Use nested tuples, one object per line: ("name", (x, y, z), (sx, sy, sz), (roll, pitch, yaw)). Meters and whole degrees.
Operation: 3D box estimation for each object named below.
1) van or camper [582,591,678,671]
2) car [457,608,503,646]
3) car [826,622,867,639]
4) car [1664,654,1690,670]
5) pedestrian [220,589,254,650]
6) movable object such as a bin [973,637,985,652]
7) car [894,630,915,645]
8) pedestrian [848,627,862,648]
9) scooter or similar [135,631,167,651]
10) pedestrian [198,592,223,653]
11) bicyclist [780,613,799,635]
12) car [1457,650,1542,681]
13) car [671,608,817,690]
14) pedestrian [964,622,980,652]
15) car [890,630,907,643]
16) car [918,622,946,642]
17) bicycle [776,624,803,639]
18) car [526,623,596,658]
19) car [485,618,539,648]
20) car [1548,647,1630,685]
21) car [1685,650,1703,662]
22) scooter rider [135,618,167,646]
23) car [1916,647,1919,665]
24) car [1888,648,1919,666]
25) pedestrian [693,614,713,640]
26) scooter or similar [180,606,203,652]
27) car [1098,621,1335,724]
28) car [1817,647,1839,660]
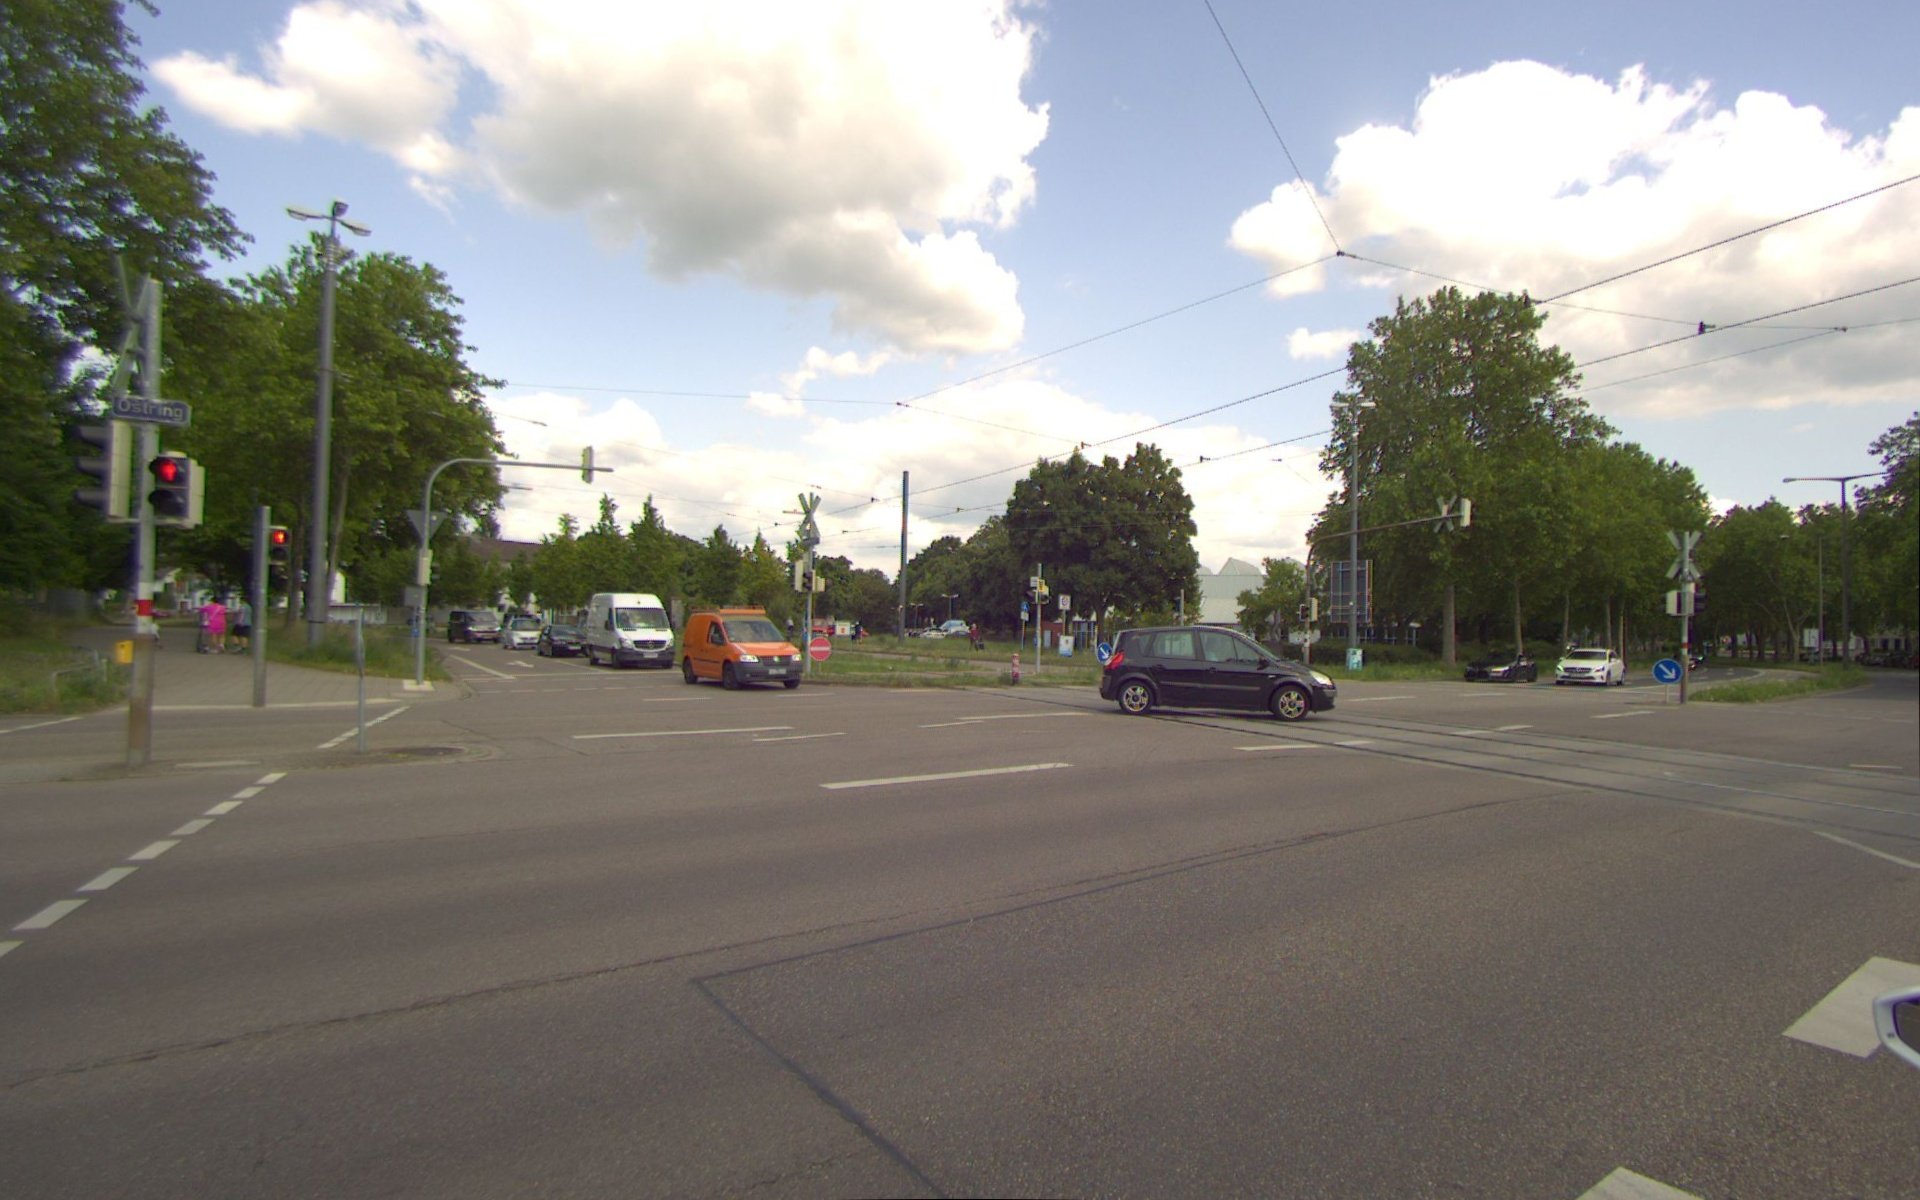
("van or camper", (-11.679, 1.074, 35.292), (1.959, 2.557, 5.988), (2, -2, -30))
("car", (-28.739, 1.579, 60.053), (1.836, 2.184, 4.342), (2, -2, -34))
("car", (-11.326, 3.012, 99.723), (3.928, 1.550, 1.997), (2, -1, -10))
("car", (57.864, 4.993, 81.112), (1.613, 1.207, 3.697), (0, -2, 35))
("pedestrian", (-19.839, 0.546, 27.568), (0.624, 1.641, 0.606), (1, -1, -26))
("movable object such as a bin", (1.070, 2.524, 56.621), (0.453, 0.822, 0.576), (-1, 0, 39))
("car", (-6.715, 4.515, 121.262), (1.964, 1.661, 4.384), (2, -2, -9))
("pedestrian", (-7.087, 2.513, 67.636), (0.644, 1.372, 0.745), (0, 0, -35))
("scooter or similar", (-22.204, 1.119, 27.568), (0.605, 0.518, 0.849), (0, 0, -34))
("pedestrian", (-20.479, 0.624, 27.458), (0.416, 1.641, 0.592), (1, -1, -26))
("bicyclist", (-12.168, 1.712, 71.738), (0.823, 1.509, 0.959), (0, -2, 40))
("car", (22.412, 2.710, 41.677), (3.671, 1.207, 1.624), (2, -2, -35))
("car", (-5.367, 1.136, 24.547), (1.866, 1.823, 4.326), (2, -2, -36))
("pedestrian", (0.692, 2.109, 56.939), (0.629, 1.666, 0.610), (0, 0, 41))
("car", (-8.758, 5.131, 141.942), (1.964, 1.661, 4.384), (2, -2, -9))
("car", (-2.543, 2.852, 89.824), (1.964, 1.661, 4.384), (2, -2, -9))
("bicycle", (-12.190, 2.261, 71.752), (0.945, 1.053, 1.960), (3, -2, -42))
("car", (-17.352, 1.739, 43.591), (1.794, 1.450, 4.425), (2, -2, -35))
("car", (-23.135, 1.673, 51.786), (1.793, 1.450, 4.342), (2, -2, -34))
("car", (24.944, 2.573, 39.798), (4.109, 1.382, 1.808), (3, -2, -44))
("car", (88.755, 6.752, 121.549), (1.634, 1.288, 3.759), (-1, 0, 35))
("scooter rider", (-22.201, 0.881, 27.570), (0.606, 0.738, 0.851), (0, 0, -34))
("car", (91.163, 5.314, 93.991), (1.968, 1.595, 3.985), (-1, 0, 37))
("car", (95.269, 5.743, 101.383), (1.968, 1.595, 3.985), (-1, 0, 37))
("pedestrian", (-20.859, 2.209, 81.465), (1.098, 2.040, 1.163), (2, -2, -41))
("scooter or similar", (-20.929, 0.778, 27.362), (0.317, 1.248, 0.771), (0, 0, -24))
("car", (4.603, 1.266, 18.288), (3.970, 1.652, 1.737), (1, -2, 14))
("car", (116.770, 7.148, 135.150), (1.968, 1.595, 3.985), (-1, 0, 37))
